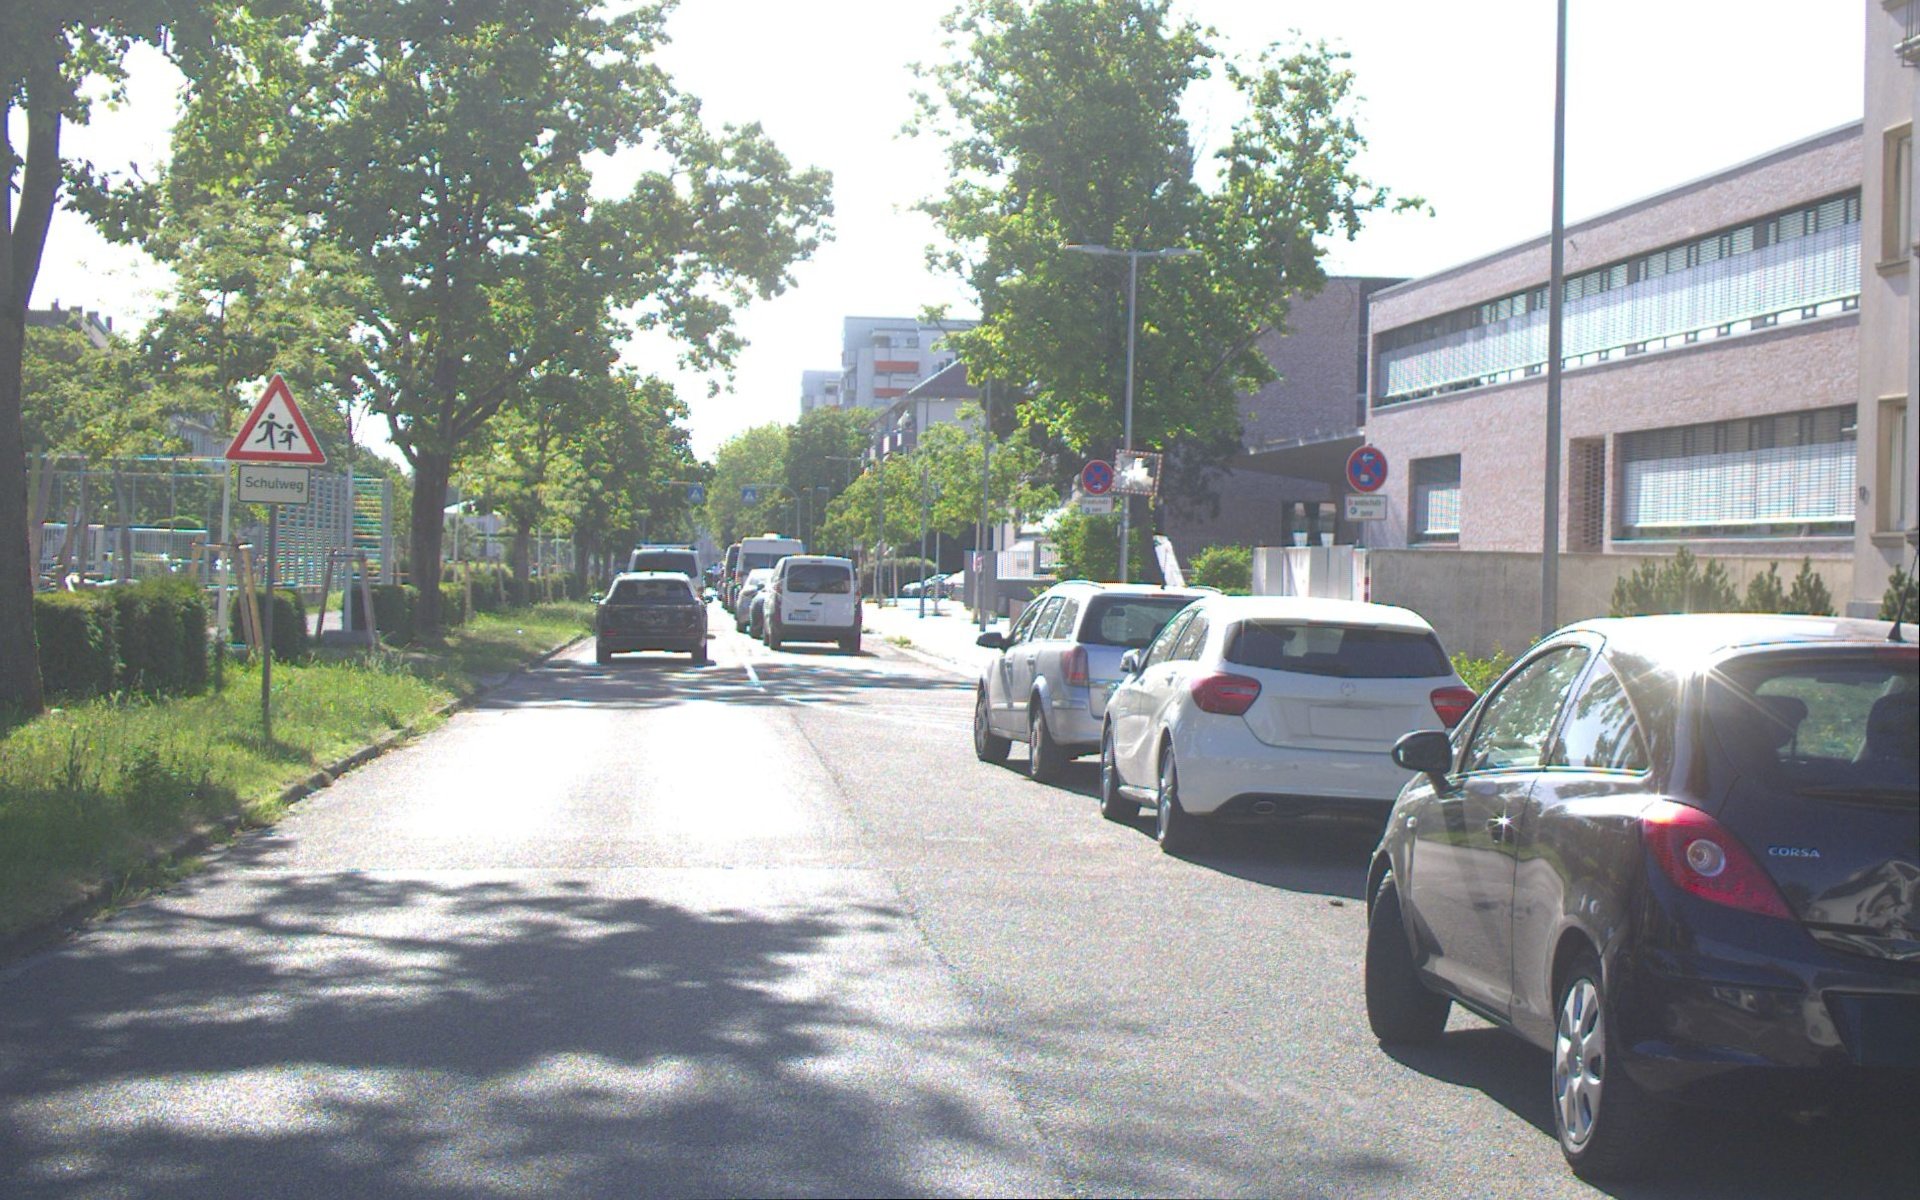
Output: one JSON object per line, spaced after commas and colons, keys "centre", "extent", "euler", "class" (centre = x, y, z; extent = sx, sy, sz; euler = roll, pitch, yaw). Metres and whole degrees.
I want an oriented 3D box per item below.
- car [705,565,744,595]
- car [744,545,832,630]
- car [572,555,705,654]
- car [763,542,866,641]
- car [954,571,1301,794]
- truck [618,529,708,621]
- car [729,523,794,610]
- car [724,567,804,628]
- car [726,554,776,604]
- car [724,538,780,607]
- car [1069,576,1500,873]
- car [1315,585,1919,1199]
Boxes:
{"centre": [-11.451, -0.975, 167.156], "extent": [1.817, 1.354, 4.001], "euler": [1, 1, -5], "class": "car"}
{"centre": [-3.909, -0.292, 77.792], "extent": [1.817, 1.824, 4.001], "euler": [1, 1, -5], "class": "car"}
{"centre": [-5.348, 0.041, 56.672], "extent": [1.993, 1.519, 4.757], "euler": [1, 1, -7], "class": "car"}
{"centre": [-2.878, -0.185, 67.447], "extent": [1.817, 1.824, 4.001], "euler": [1, 1, -5], "class": "car"}
{"centre": [1.195, 0.575, 26.383], "extent": [1.795, 1.489, 4.001], "euler": [2, 0, -9], "class": "car"}
{"centre": [-6.901, -0.597, 79.823], "extent": [1.993, 2.029, 4.875], "euler": [1, 1, -5], "class": "truck"}
{"centre": [-6.014, -1.015, 103.888], "extent": [1.817, 2.509, 4.001], "euler": [1, 1, -5], "class": "car"}
{"centre": [-4.790, -0.070, 83.525], "extent": [1.817, 1.395, 4.001], "euler": [1, 1, -5], "class": "car"}
{"centre": [-8.100, -0.825, 132.845], "extent": [1.817, 1.828, 4.001], "euler": [1, 1, -5], "class": "car"}
{"centre": [-7.313, -0.986, 120.839], "extent": [1.817, 2.345, 4.001], "euler": [1, 1, -5], "class": "car"}
{"centre": [1.794, 0.652, 20.273], "extent": [1.795, 1.489, 4.001], "euler": [2, 0, -5], "class": "car"}
{"centre": [2.256, 0.748, 10.131], "extent": [1.671, 1.489, 3.827], "euler": [2, 0, -5], "class": "car"}
